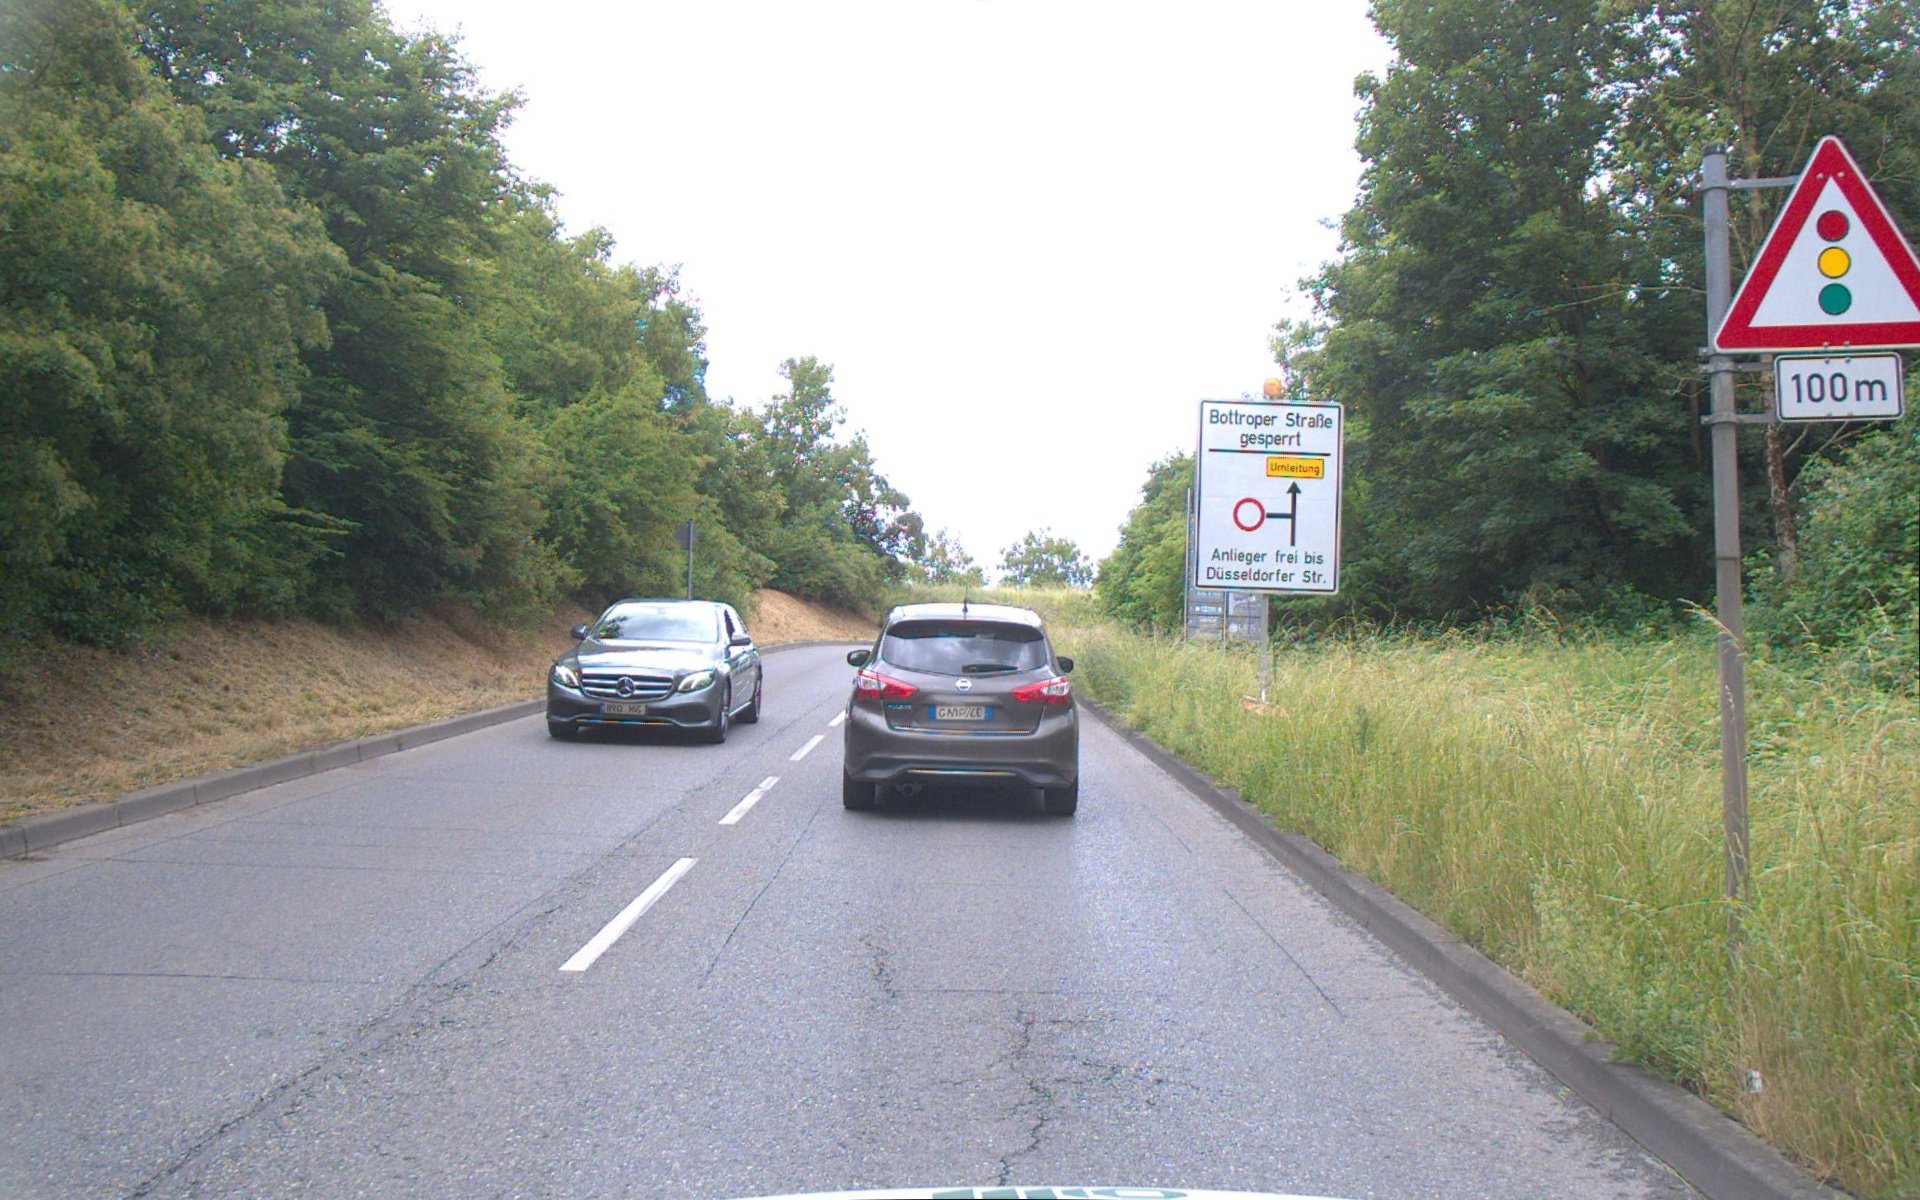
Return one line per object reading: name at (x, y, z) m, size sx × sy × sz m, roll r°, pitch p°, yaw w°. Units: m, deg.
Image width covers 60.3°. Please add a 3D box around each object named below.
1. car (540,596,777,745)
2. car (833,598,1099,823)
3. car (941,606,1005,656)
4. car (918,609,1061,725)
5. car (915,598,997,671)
car at (-3.238, 0.701, 18.608) m, size 1.793 × 1.430 × 4.432 m, roll 1°, pitch 0°, yaw 0°
car at (-0.055, 0.770, 13.453) m, size 1.808 × 1.519 × 3.998 m, roll 1°, pitch 0°, yaw -3°
car at (0.439, 0.918, 50.521) m, size 1.760 × 1.422 × 4.001 m, roll 1°, pitch 0°, yaw 3°
car at (0.342, 0.918, 24.452) m, size 1.808 × 1.519 × 4.225 m, roll 1°, pitch 0°, yaw -3°
car at (-0.045, 0.748, 37.706) m, size 1.685 × 1.521 × 3.577 m, roll 2°, pitch 0°, yaw 2°
